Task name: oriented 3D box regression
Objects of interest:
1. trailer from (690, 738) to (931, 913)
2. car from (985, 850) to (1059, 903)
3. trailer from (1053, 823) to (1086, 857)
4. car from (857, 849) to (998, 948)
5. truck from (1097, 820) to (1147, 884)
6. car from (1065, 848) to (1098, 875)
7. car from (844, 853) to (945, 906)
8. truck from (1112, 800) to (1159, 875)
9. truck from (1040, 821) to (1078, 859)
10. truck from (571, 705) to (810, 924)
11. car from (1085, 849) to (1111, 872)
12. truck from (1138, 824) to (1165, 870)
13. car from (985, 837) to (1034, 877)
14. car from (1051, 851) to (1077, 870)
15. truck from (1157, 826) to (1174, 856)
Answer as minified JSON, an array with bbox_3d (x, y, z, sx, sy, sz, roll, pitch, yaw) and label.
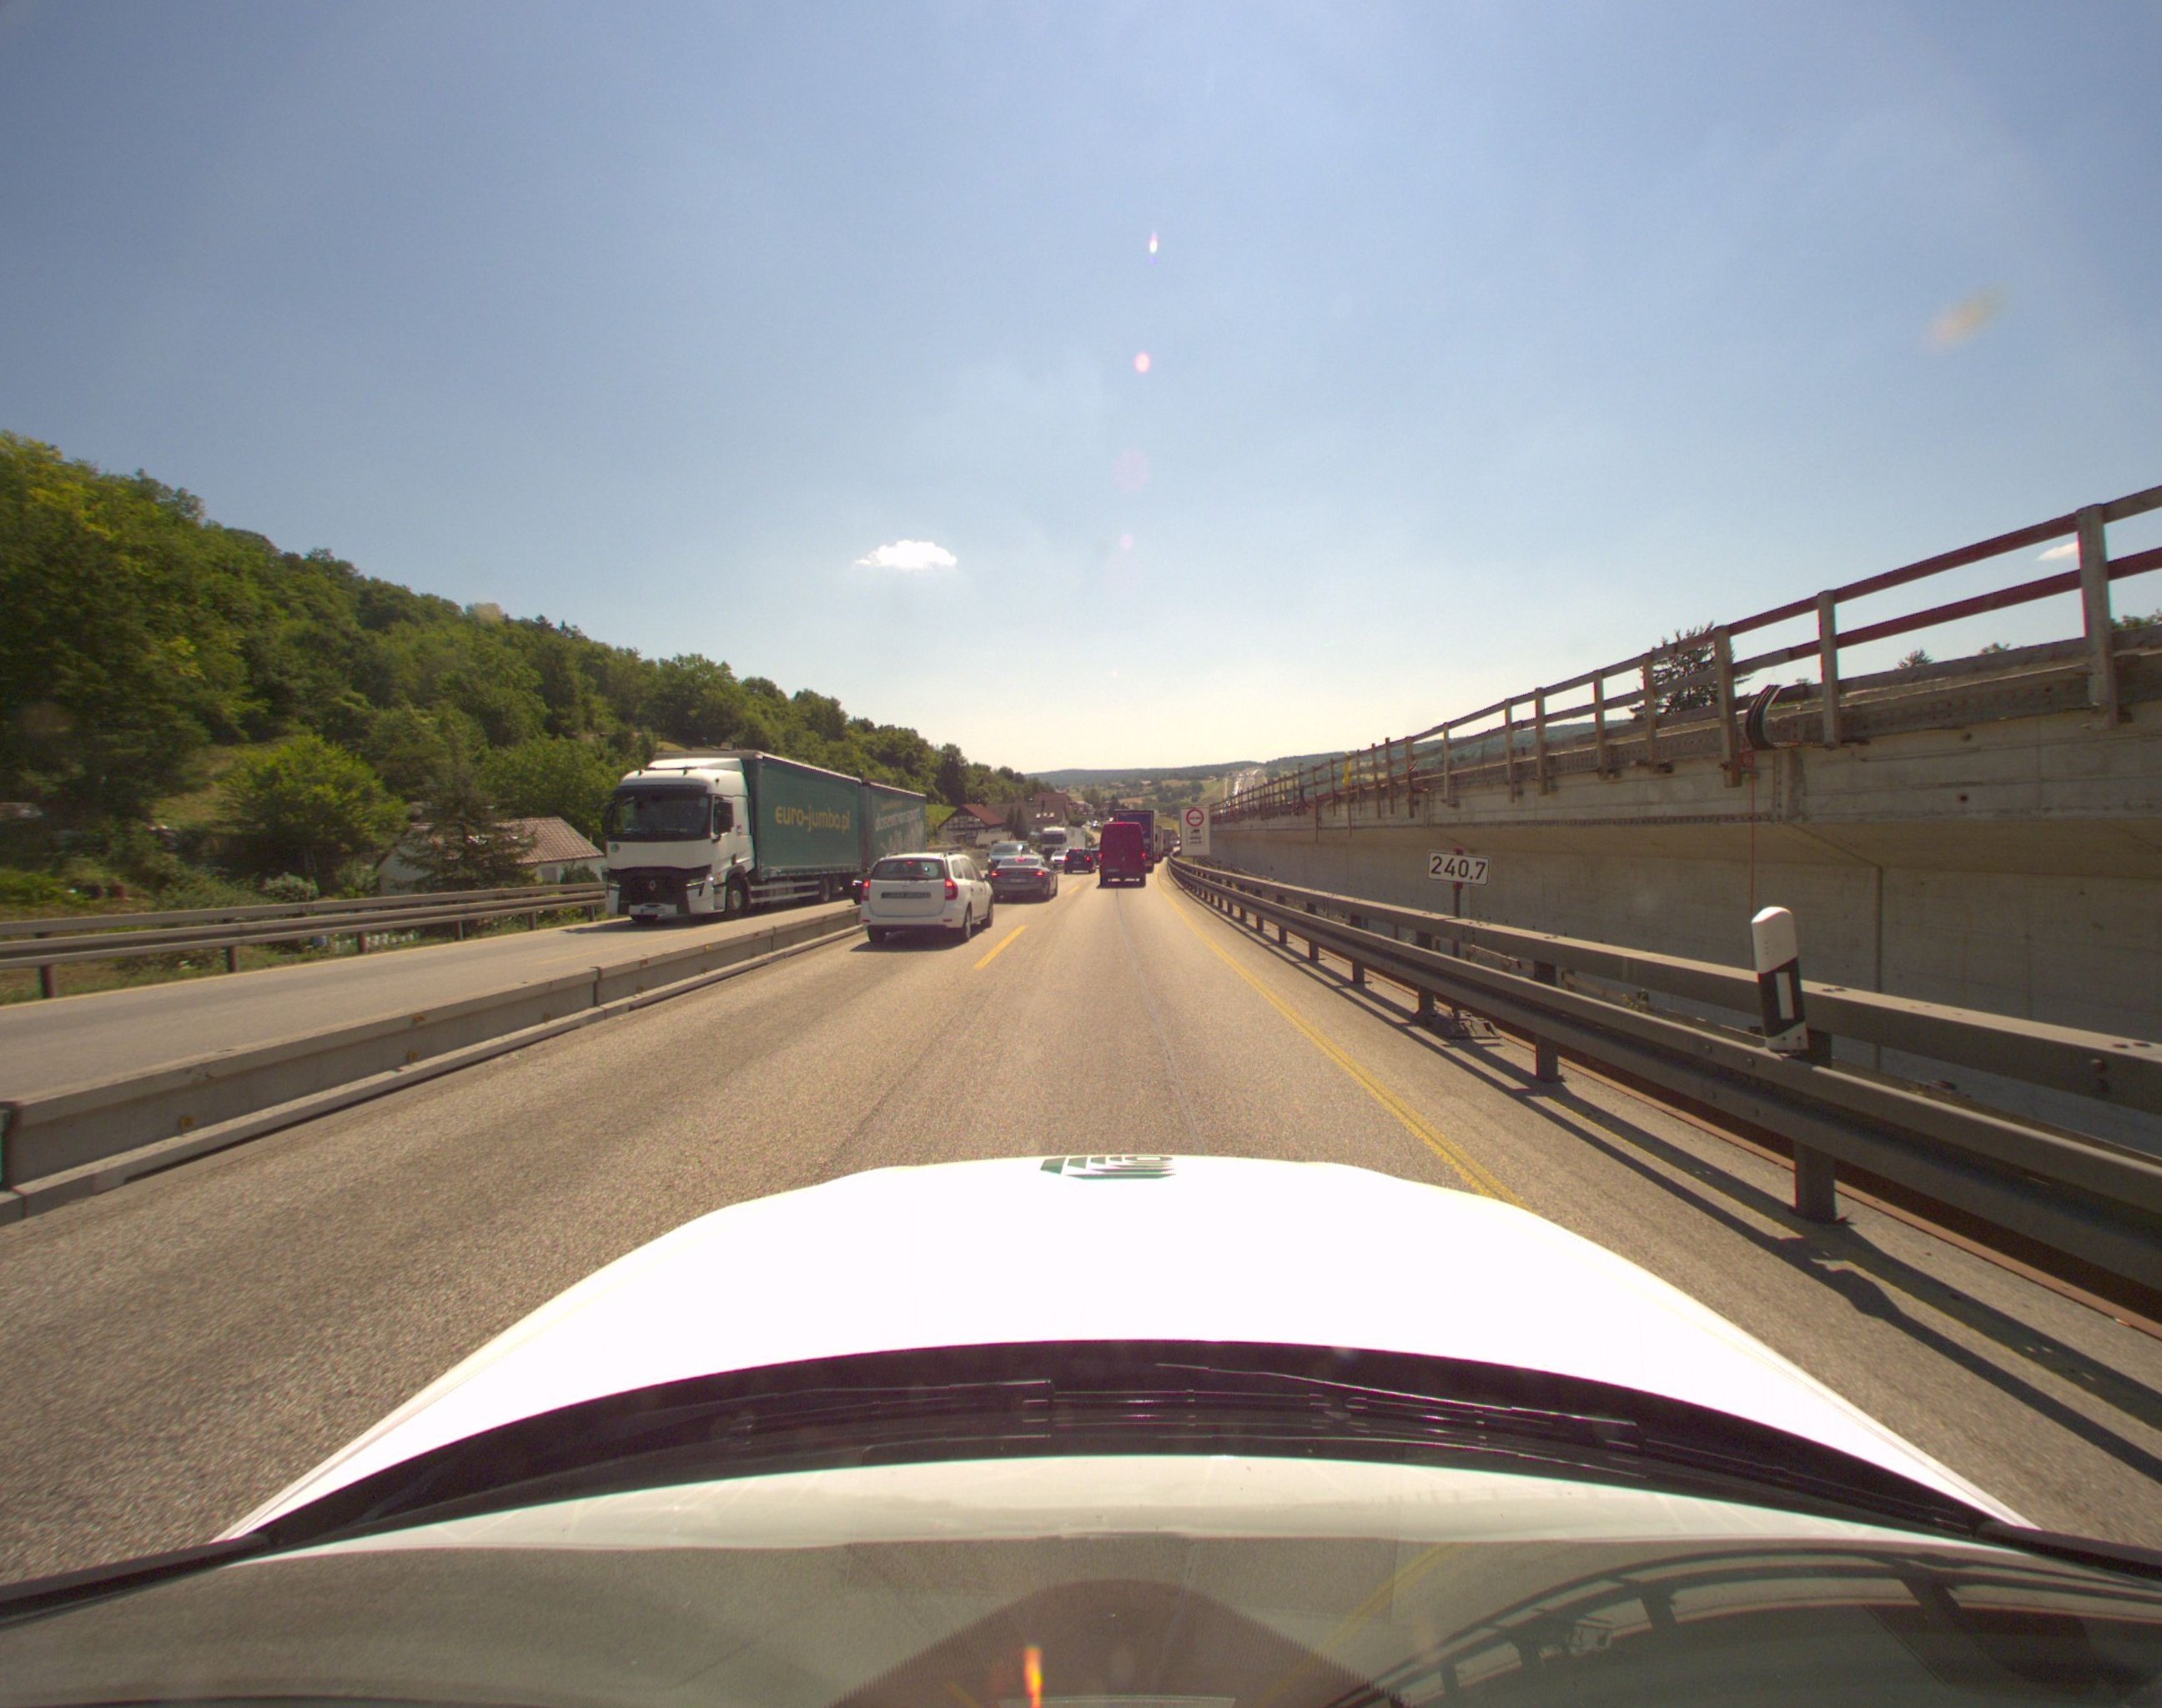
[{"bbox_3d":[-8.606,-0.670,29.089,2.821,4.641,14.594,-1,-1,4],"label":"trailer"},{"bbox_3d":[-1.761,0.656,25.748,1.787,1.485,4.053,-1,0,3],"label":"car"},{"bbox_3d":[-1.396,-1.718,104.284,2.988,4.165,9.035,-1,0,7],"label":"trailer"},{"bbox_3d":[-2.643,0.719,14.993,1.646,1.483,4.267,-3,-1,1],"label":"car"},{"bbox_3d":[1.805,-0.054,35.136,1.985,2.578,4.004,-1,-1,4],"label":"truck"},{"bbox_3d":[0.054,0.487,52.303,1.801,1.608,3.724,-1,-1,5],"label":"car"},{"bbox_3d":[-5.678,0.749,25.440,1.895,1.462,4.759,-1,-1,2],"label":"car"},{"bbox_3d":[4.000,-1.024,57.712,2.772,4.816,9.701,-1,-1,6],"label":"truck"},{"bbox_3d":[-2.448,-1.593,94.550,2.963,4.162,10.562,-1,1,6],"label":"truck"},{"bbox_3d":[-9.227,-0.800,20.098,2.834,4.580,5.792,-1,-1,3],"label":"truck"},{"bbox_3d":[1.423,0.530,66.520,1.720,1.838,4.007,-1,-1,6],"label":"car"},{"bbox_3d":[7.796,-0.681,89.490,2.772,4.816,9.699,-1,-1,5],"label":"truck"},{"bbox_3d":[-4.027,0.206,46.735,1.984,2.173,4.838,-1,-1,5],"label":"car"},{"bbox_3d":[-1.428,0.569,70.235,1.572,1.522,4.163,-2,-2,8],"label":"car"},{"bbox_3d":[12.483,-1.894,120.609,1.980,4.381,4.013,-1,-1,12],"label":"truck"}]
